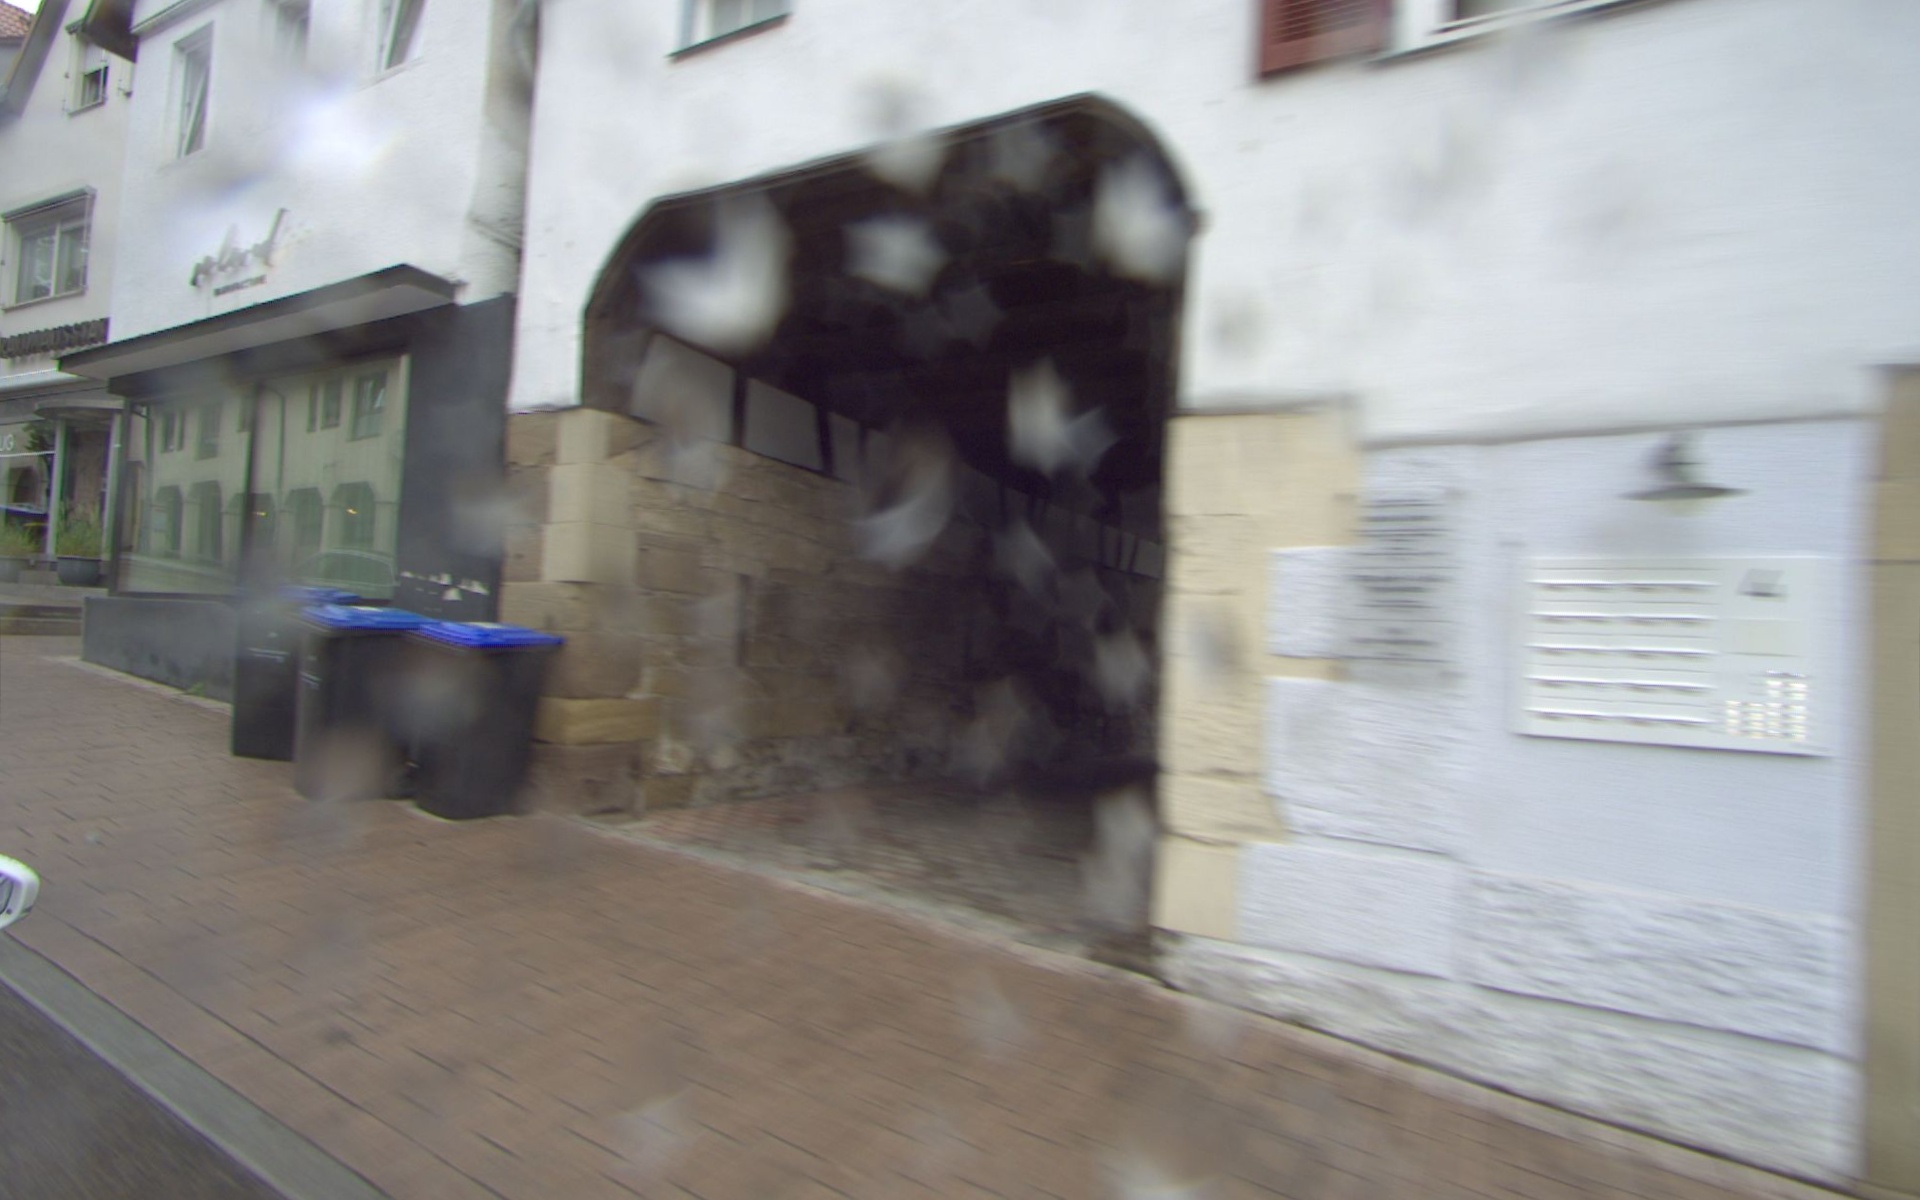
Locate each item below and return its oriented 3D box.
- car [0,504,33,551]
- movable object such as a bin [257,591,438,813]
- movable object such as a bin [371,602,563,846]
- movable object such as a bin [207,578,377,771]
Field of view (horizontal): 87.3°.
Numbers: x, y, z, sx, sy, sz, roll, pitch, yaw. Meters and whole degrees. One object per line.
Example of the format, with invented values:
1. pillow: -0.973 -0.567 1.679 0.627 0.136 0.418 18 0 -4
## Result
1. car: -35.181 -2.643 36.297 3.392 1.506 1.642 1 -3 31
2. movable object such as a bin: -3.509 0.560 5.769 0.665 1.123 0.567 8 2 32
3. movable object such as a bin: -2.797 0.683 5.731 0.595 1.220 0.625 9 1 31
4. movable object such as a bin: -4.191 0.440 6.320 0.604 1.077 0.659 9 5 32
